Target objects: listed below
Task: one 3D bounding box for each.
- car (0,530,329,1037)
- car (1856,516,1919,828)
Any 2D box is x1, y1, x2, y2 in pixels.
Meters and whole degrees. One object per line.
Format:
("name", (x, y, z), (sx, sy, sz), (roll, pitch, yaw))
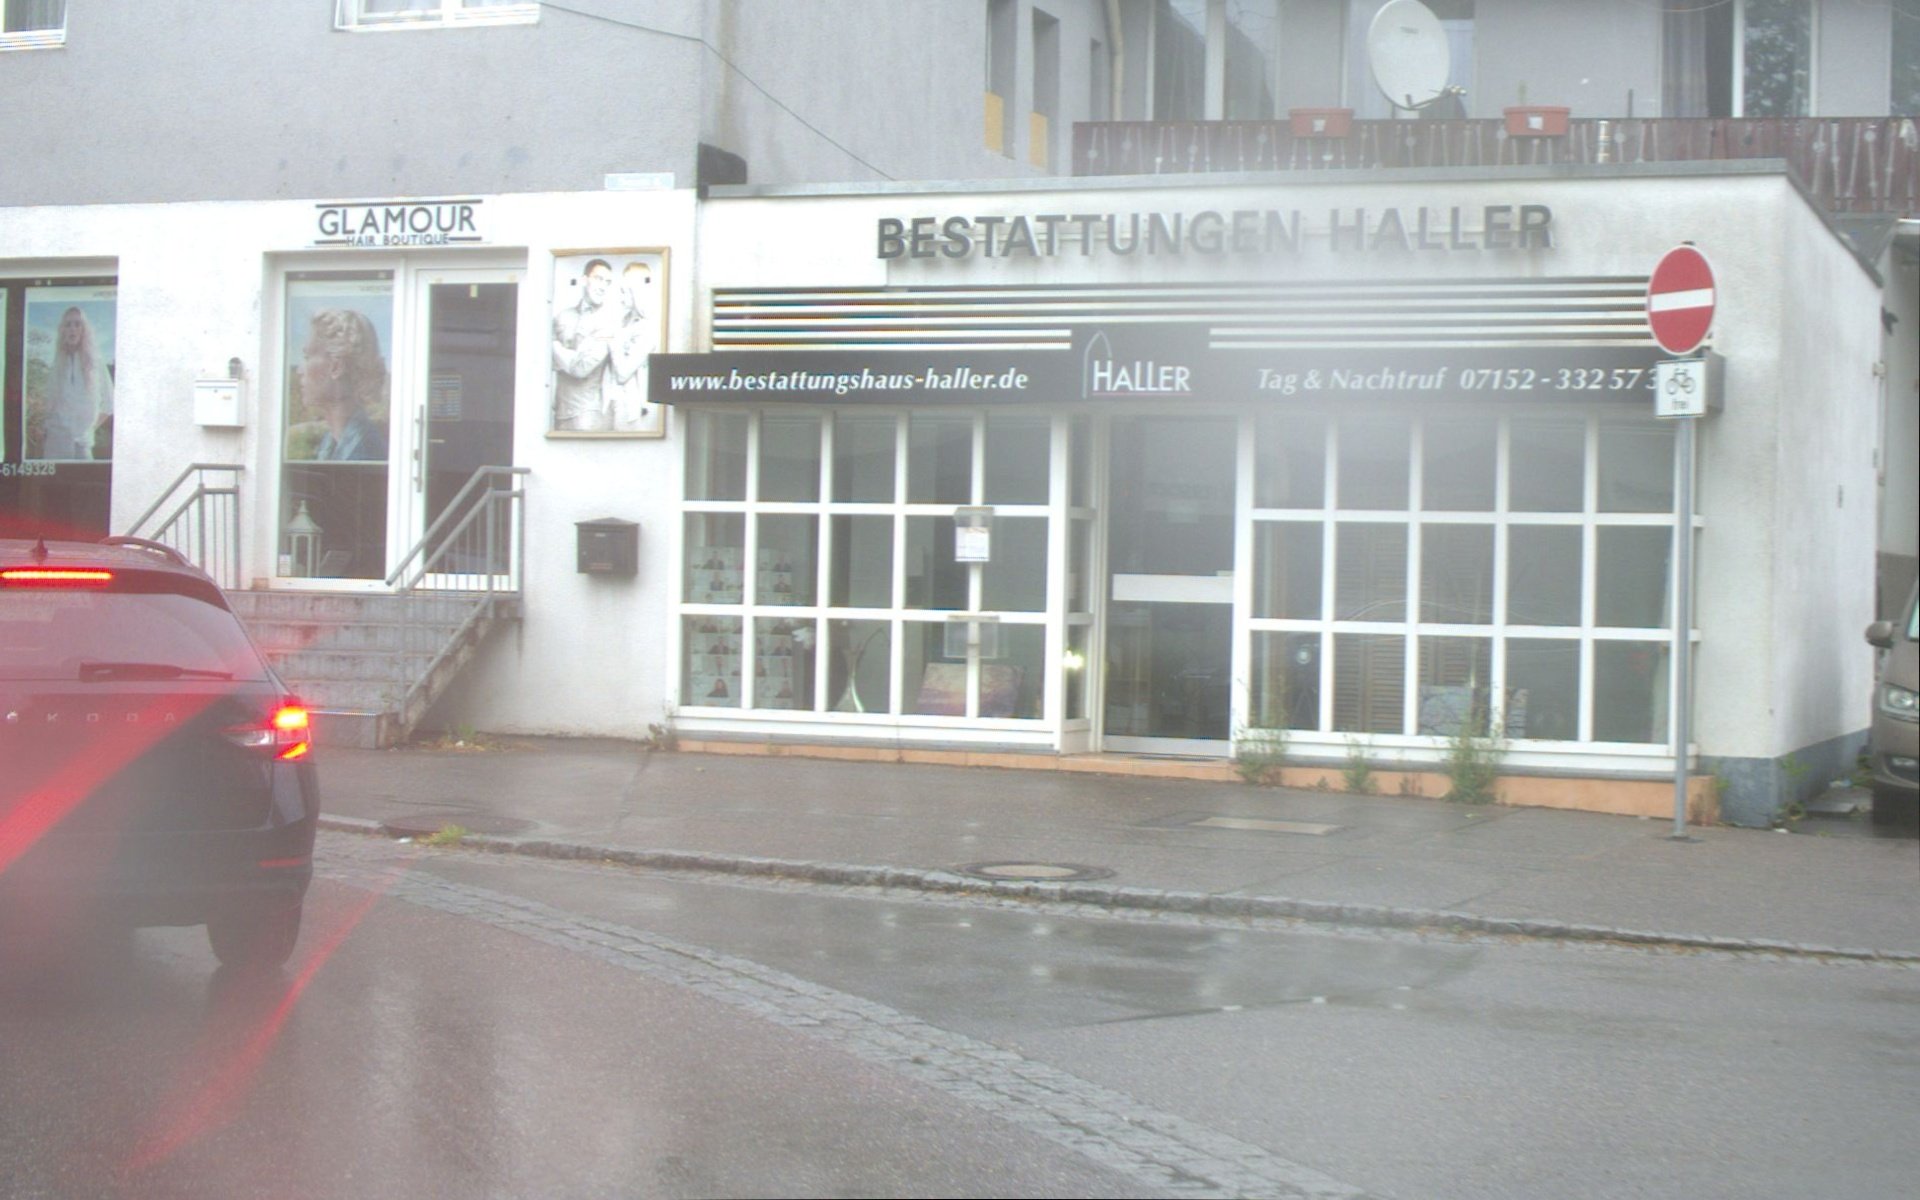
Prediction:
("car", (-3.682, 0.519, 12.488), (1.732, 1.445, 4.242), (0, 3, -25))
("car", (6.753, 0.376, 21.681), (1.925, 1.722, 4.665), (2, 2, 17))
